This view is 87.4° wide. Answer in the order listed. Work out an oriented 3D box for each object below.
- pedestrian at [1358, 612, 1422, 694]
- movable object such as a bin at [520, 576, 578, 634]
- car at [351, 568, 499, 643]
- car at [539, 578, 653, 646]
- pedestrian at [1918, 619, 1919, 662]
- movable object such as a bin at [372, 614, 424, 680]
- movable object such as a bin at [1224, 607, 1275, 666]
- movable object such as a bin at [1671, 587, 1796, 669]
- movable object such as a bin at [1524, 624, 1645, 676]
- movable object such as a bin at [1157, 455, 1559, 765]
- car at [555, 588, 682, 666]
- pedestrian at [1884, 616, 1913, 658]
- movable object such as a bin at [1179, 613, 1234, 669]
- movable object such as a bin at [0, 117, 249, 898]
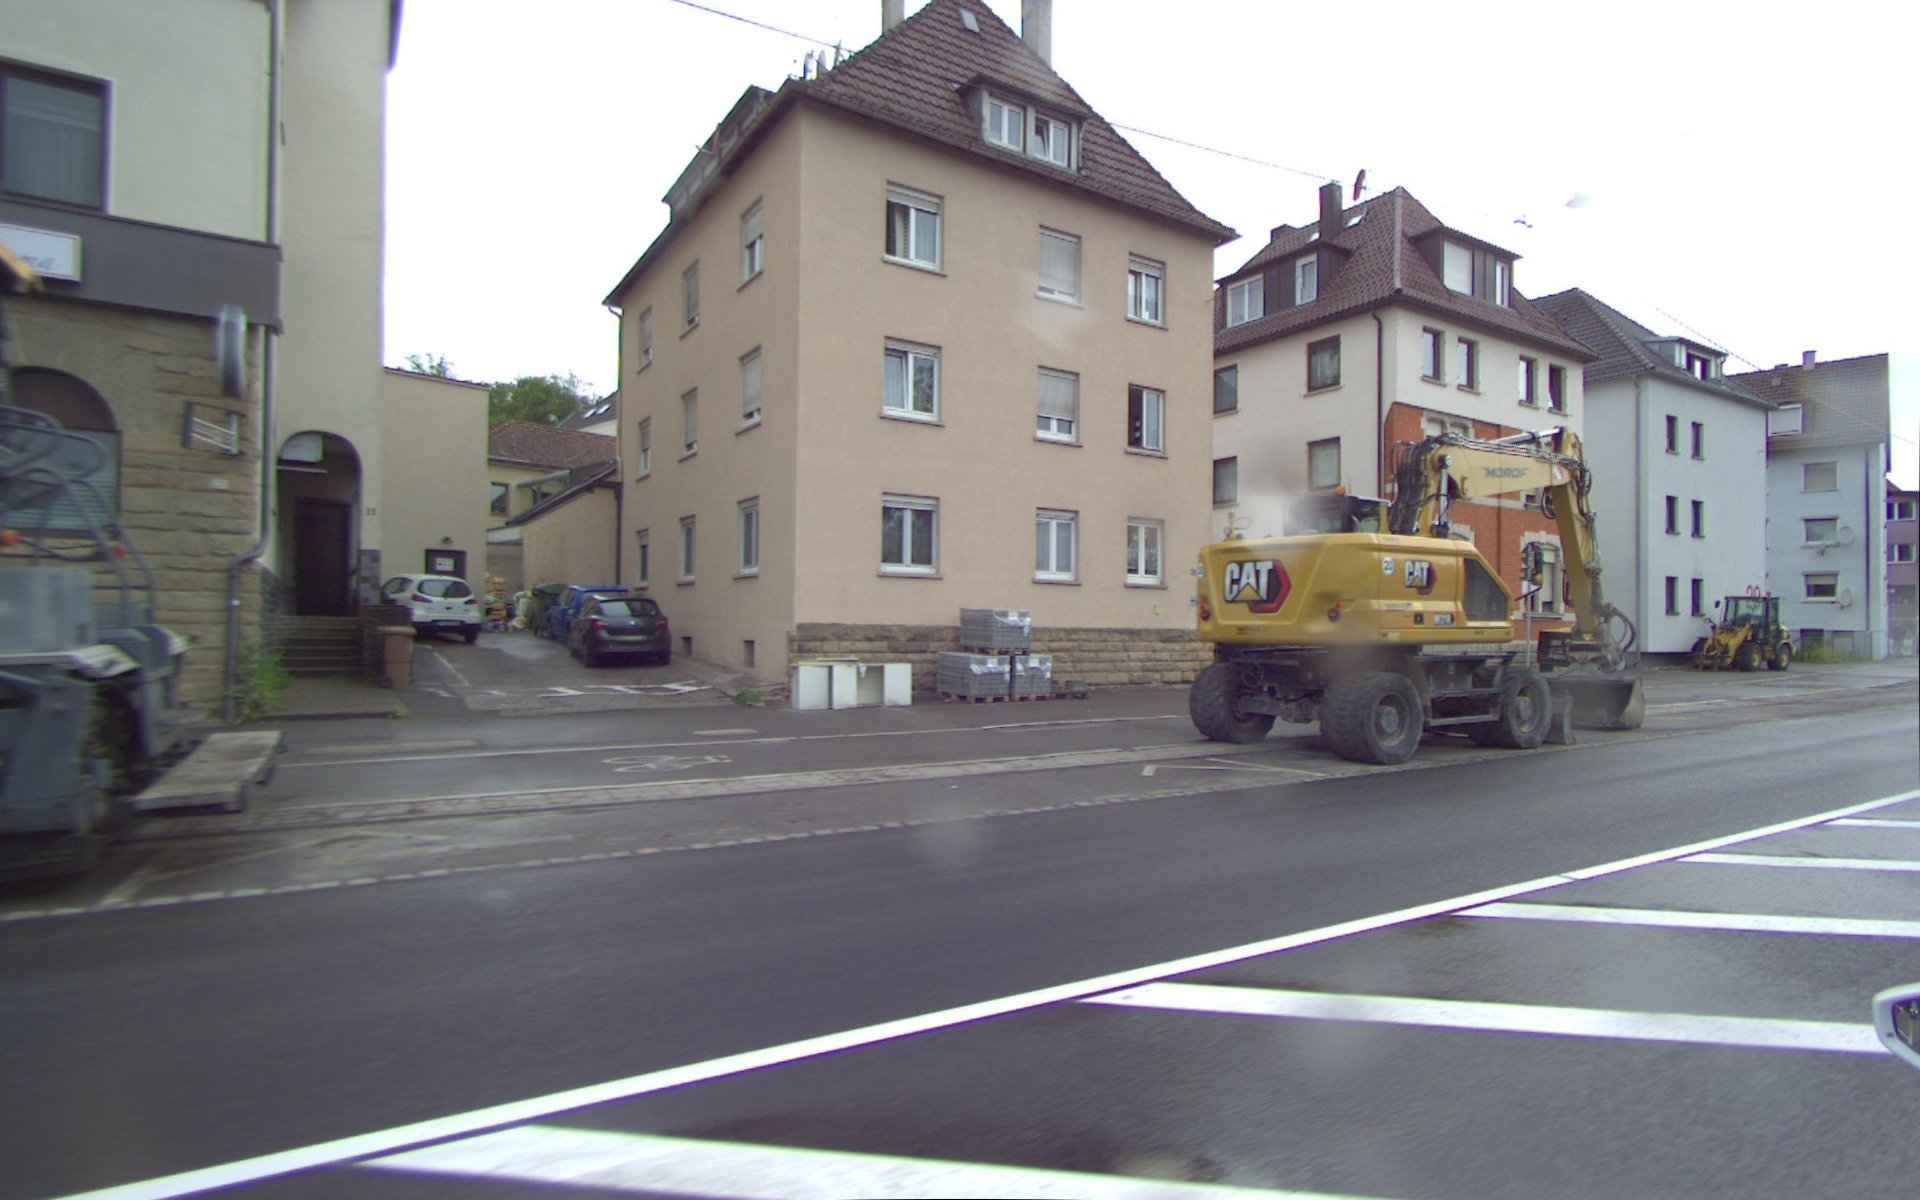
[{"bbox_3d":[8.894,1.063,20.765,1.080,1.610,0.759,-1,1,-34],"label":"pedestrian"},{"bbox_3d":[-11.366,0.115,27.755,1.174,1.528,1.935,-1,1,-32],"label":"movable object such as a bin"},{"bbox_3d":[-13.226,0.119,24.743,3.940,1.694,1.886,0,1,40],"label":"car"},{"bbox_3d":[-9.197,0.256,25.183,1.977,1.528,3.967,-1,1,-31],"label":"car"},{"bbox_3d":[47.312,1.973,48.675,1.044,2.041,1.196,-1,1,-41],"label":"pedestrian"},{"bbox_3d":[-8.907,0.734,15.928,0.640,0.987,0.617,-1,1,-36],"label":"movable object such as a bin"},{"bbox_3d":[7.336,0.899,25.492,0.948,1.430,0.847,-1,1,-36],"label":"movable object such as a bin"},{"bbox_3d":[27.409,0.914,35.572,4.573,2.719,1.984,-1,1,-30],"label":"movable object such as a bin"},{"bbox_3d":[18.055,1.458,28.995,3.960,1.372,1.543,3,-1,-35],"label":"movable object such as a bin"},{"bbox_3d":[4.992,0.097,12.691,4.078,3.216,2.857,0,1,-31],"label":"movable object such as a bin"},{"bbox_3d":[-7.255,0.494,21.114,1.830,1.461,3.969,-1,1,-29],"label":"car"},{"bbox_3d":[47.308,1.833,50.631,1.068,2.041,1.045,0,1,44],"label":"pedestrian"},{"bbox_3d":[6.549,1.067,26.690,0.948,1.430,1.077,-1,1,-36],"label":"movable object such as a bin"},{"bbox_3d":[-7.526,-0.429,5.149,5.911,3.907,2.763,-1,1,-28],"label":"movable object such as a bin"}]
